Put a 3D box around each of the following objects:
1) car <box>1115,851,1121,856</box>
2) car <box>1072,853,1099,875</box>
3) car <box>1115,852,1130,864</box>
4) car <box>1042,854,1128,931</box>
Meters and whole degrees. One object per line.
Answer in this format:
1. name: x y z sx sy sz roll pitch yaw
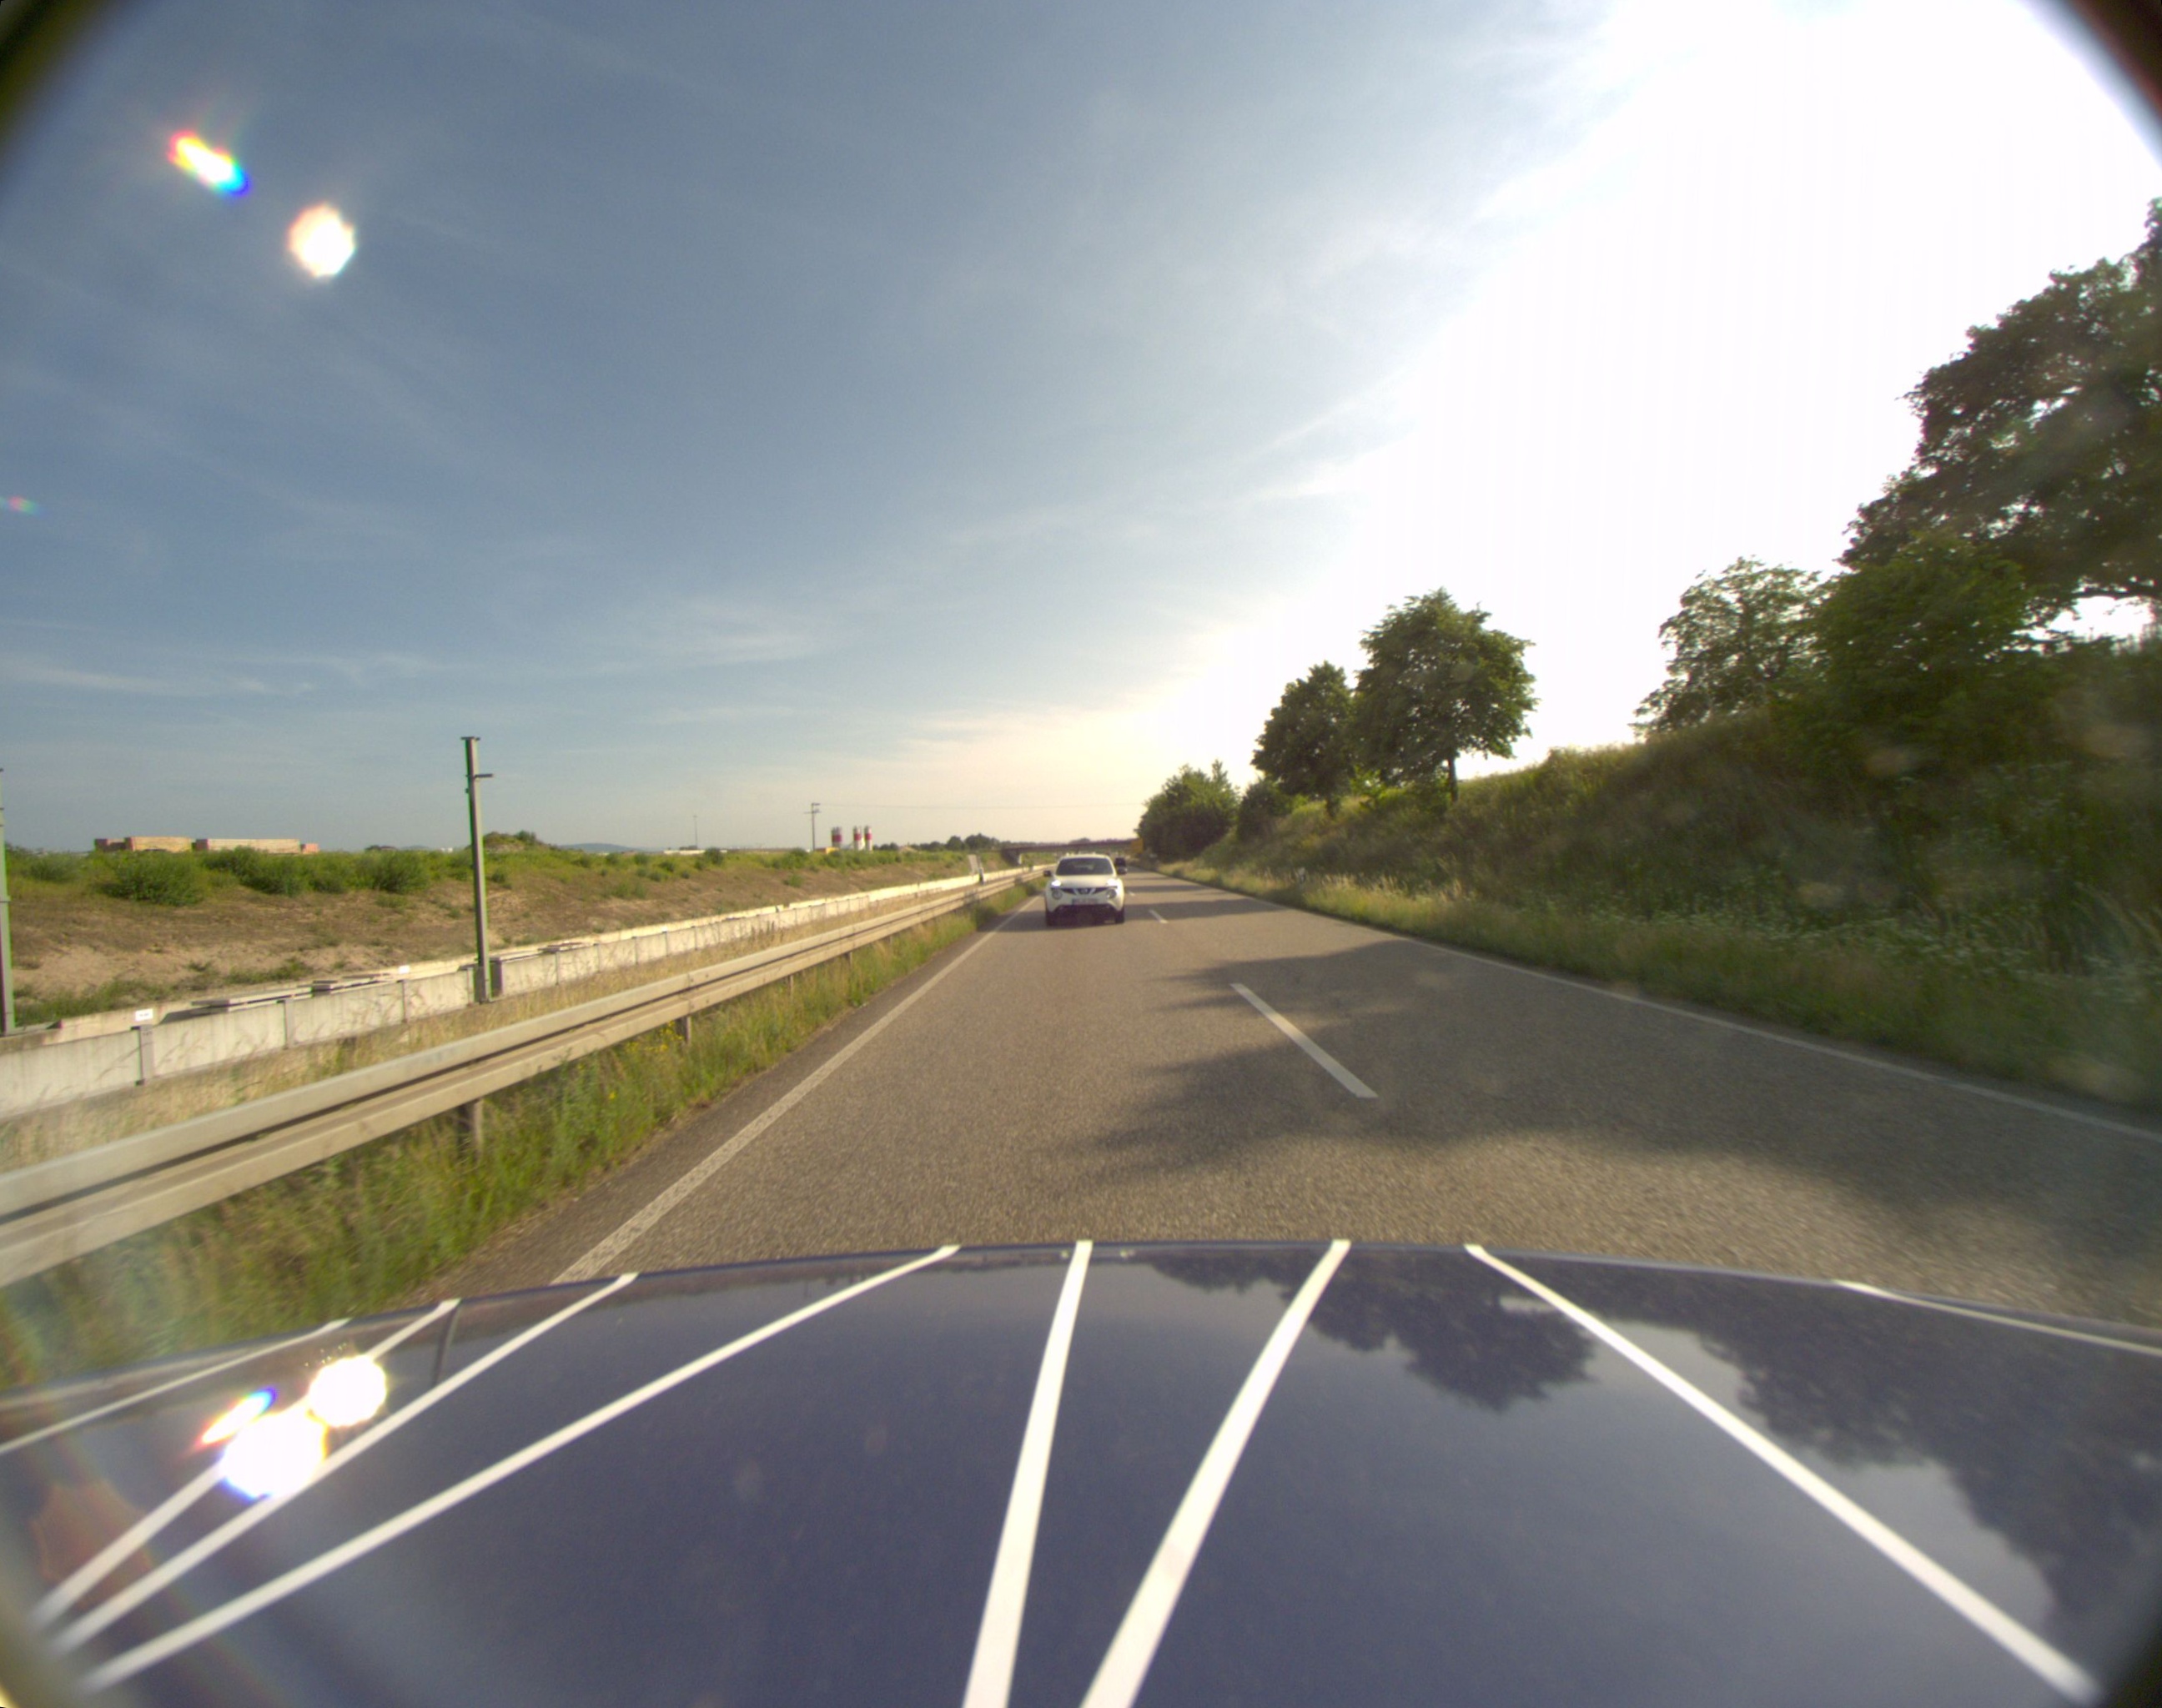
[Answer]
1. car: 12.149 -0.225 249.553 1.749 1.555 4.365 -2 0 1
2. car: 0.357 0.690 57.296 1.908 1.512 4.465 -2 0 1
3. car: 5.789 0.529 105.893 1.748 1.538 4.311 -2 0 -1
4. car: 0.087 0.823 18.529 1.789 1.593 4.571 -2 0 0
